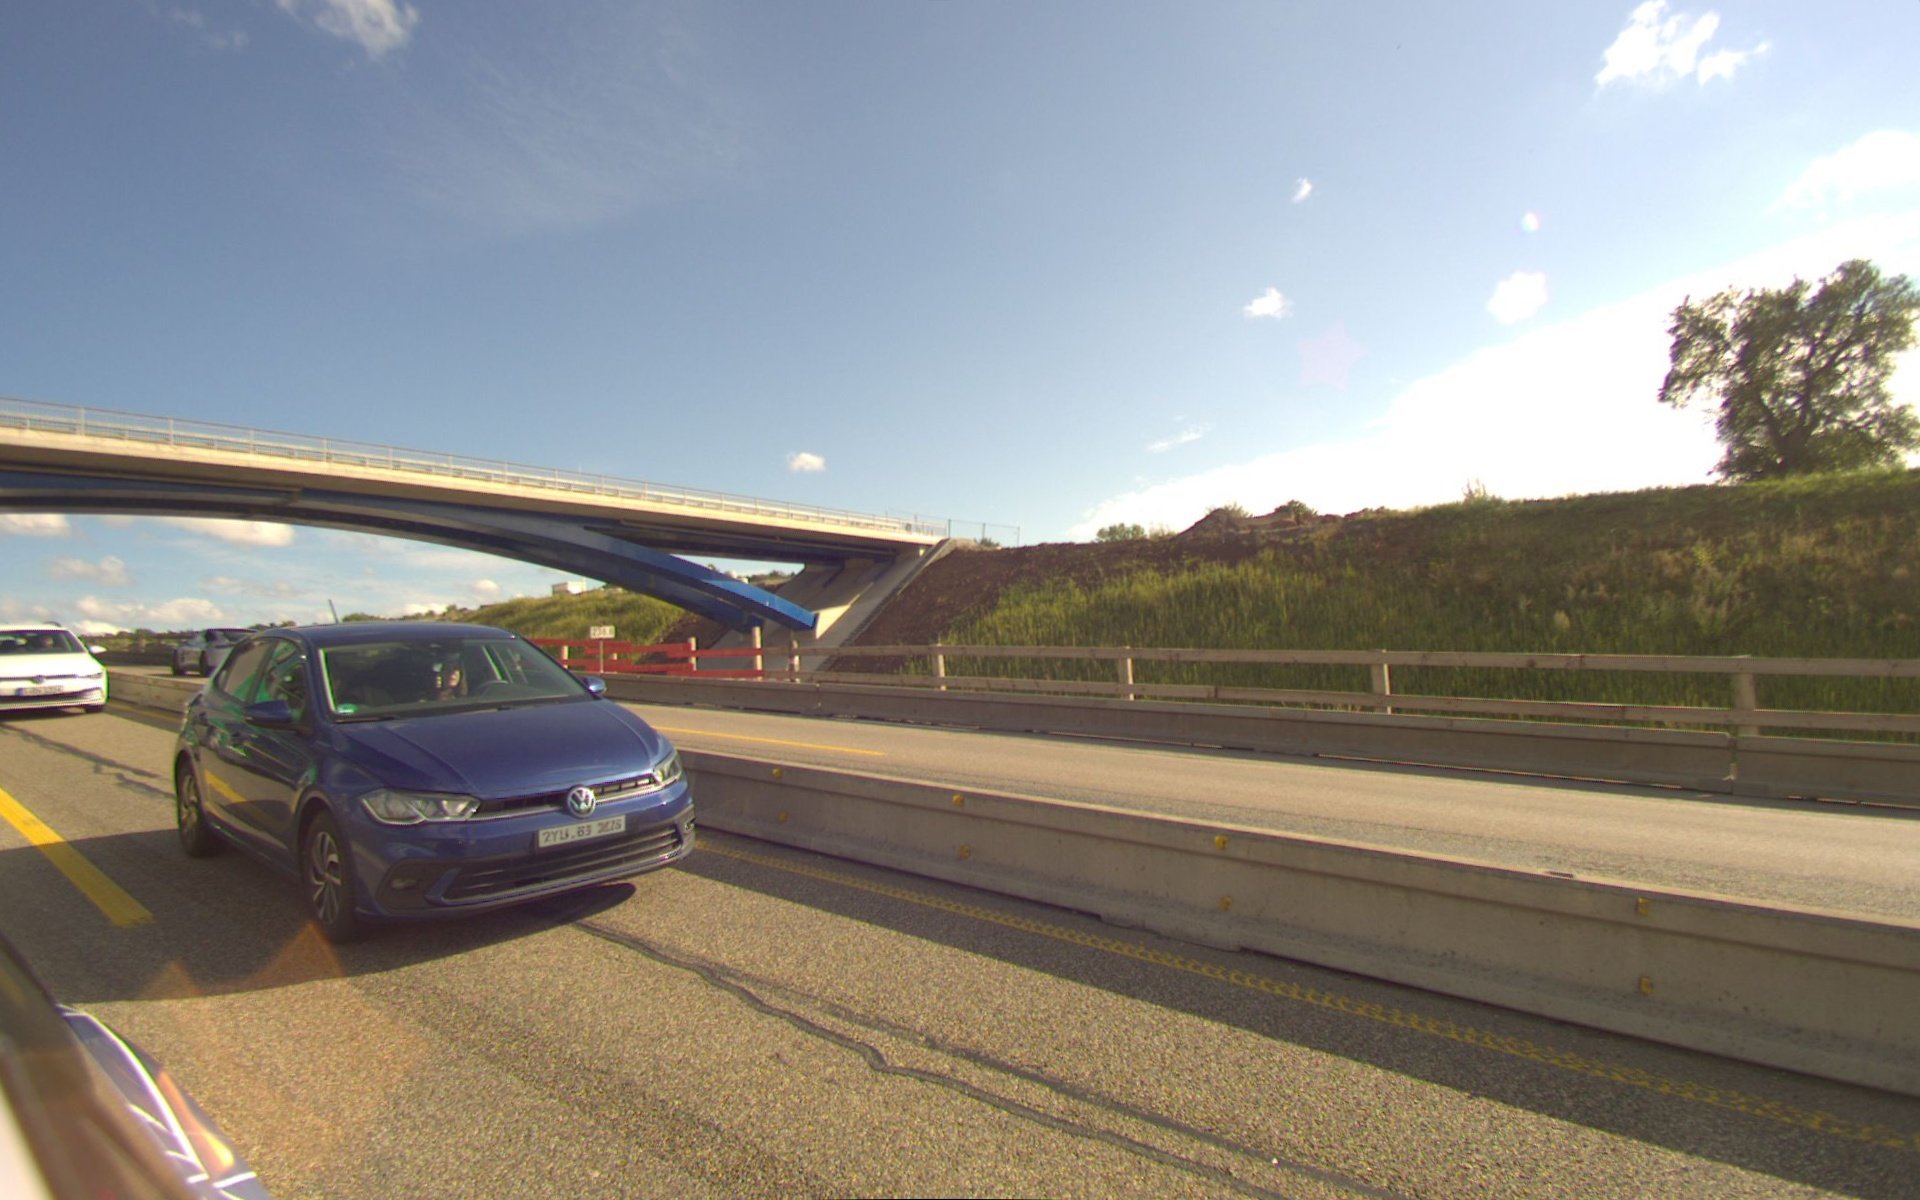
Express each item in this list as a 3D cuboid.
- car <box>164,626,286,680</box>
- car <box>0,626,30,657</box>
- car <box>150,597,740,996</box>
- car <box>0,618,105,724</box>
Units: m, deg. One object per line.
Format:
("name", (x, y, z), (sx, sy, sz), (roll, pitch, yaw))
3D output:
("car", (-21.214, 1.490, 29.158), (4.623, 1.436, 1.716), (-1, -4, 40))
("car", (-53.288, 2.327, 56.206), (4.213, 1.672, 1.717), (-2, -5, 39))
("car", (-3.176, 0.783, 5.843), (3.998, 1.519, 1.697), (-1, -1, 42))
("car", (-15.354, 1.079, 16.330), (4.373, 1.507, 1.801), (-1, -1, 42))
